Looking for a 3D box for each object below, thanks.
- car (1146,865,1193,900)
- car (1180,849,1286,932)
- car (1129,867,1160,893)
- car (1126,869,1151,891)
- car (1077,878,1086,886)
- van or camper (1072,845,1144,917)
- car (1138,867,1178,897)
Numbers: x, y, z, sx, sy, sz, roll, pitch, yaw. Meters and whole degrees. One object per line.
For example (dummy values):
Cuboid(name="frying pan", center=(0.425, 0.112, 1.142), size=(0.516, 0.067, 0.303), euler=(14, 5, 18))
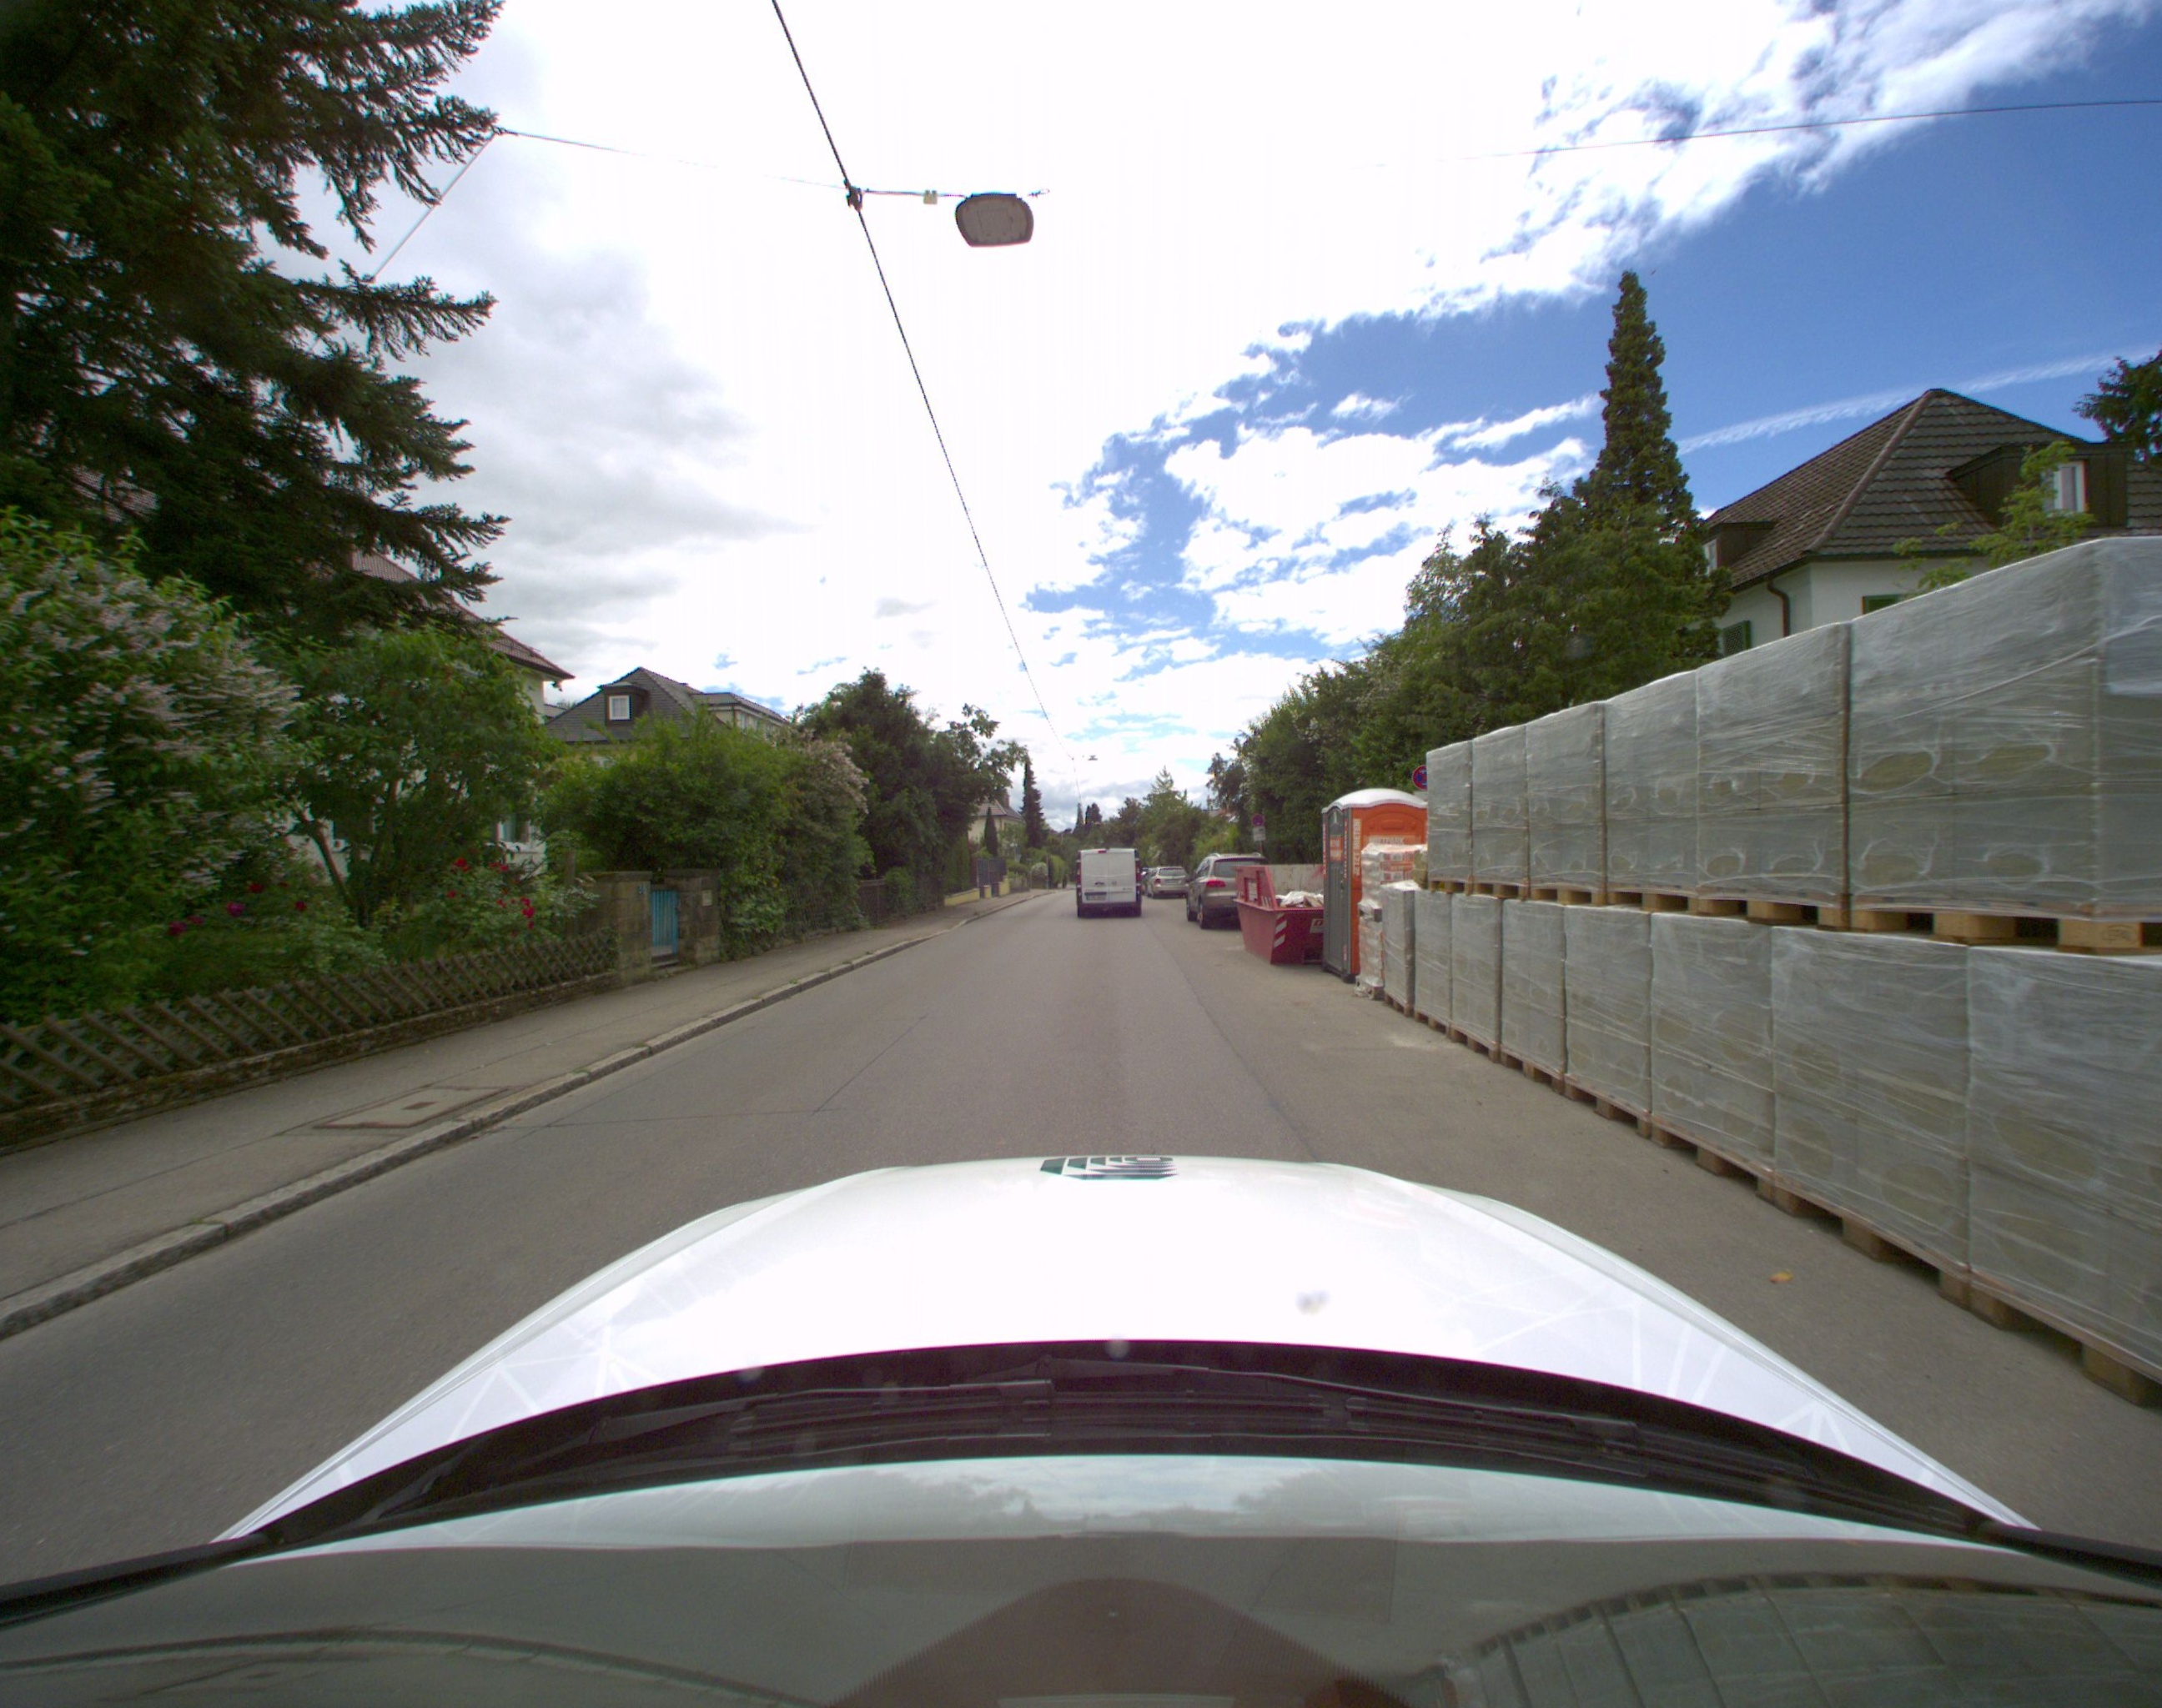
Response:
Cuboid(name="car", center=(4.067, 1.279, 37.985), size=(1.738, 1.447, 4.259), euler=(-2, -1, 1))
Cuboid(name="car", center=(3.479, 0.796, 19.379), size=(1.738, 1.675, 4.185), euler=(-2, -1, 1))
Cuboid(name="car", center=(4.242, 1.720, 54.726), size=(1.738, 1.629, 4.259), euler=(-2, -1, 1))
Cuboid(name="car", center=(4.801, 2.164, 68.504), size=(1.738, 1.629, 4.259), euler=(-2, -1, 1))
Cuboid(name="car", center=(0.061, 5.898, 170.452), size=(1.738, 1.526, 4.012), euler=(-2, -1, 1))
Cuboid(name="van or camper", center=(0.783, 0.788, 24.753), size=(1.932, 1.954, 4.765), euler=(-1, -1, 1))
Cuboid(name="car", center=(4.050, 1.448, 43.366), size=(1.738, 1.447, 4.259), euler=(-2, -1, 1))
